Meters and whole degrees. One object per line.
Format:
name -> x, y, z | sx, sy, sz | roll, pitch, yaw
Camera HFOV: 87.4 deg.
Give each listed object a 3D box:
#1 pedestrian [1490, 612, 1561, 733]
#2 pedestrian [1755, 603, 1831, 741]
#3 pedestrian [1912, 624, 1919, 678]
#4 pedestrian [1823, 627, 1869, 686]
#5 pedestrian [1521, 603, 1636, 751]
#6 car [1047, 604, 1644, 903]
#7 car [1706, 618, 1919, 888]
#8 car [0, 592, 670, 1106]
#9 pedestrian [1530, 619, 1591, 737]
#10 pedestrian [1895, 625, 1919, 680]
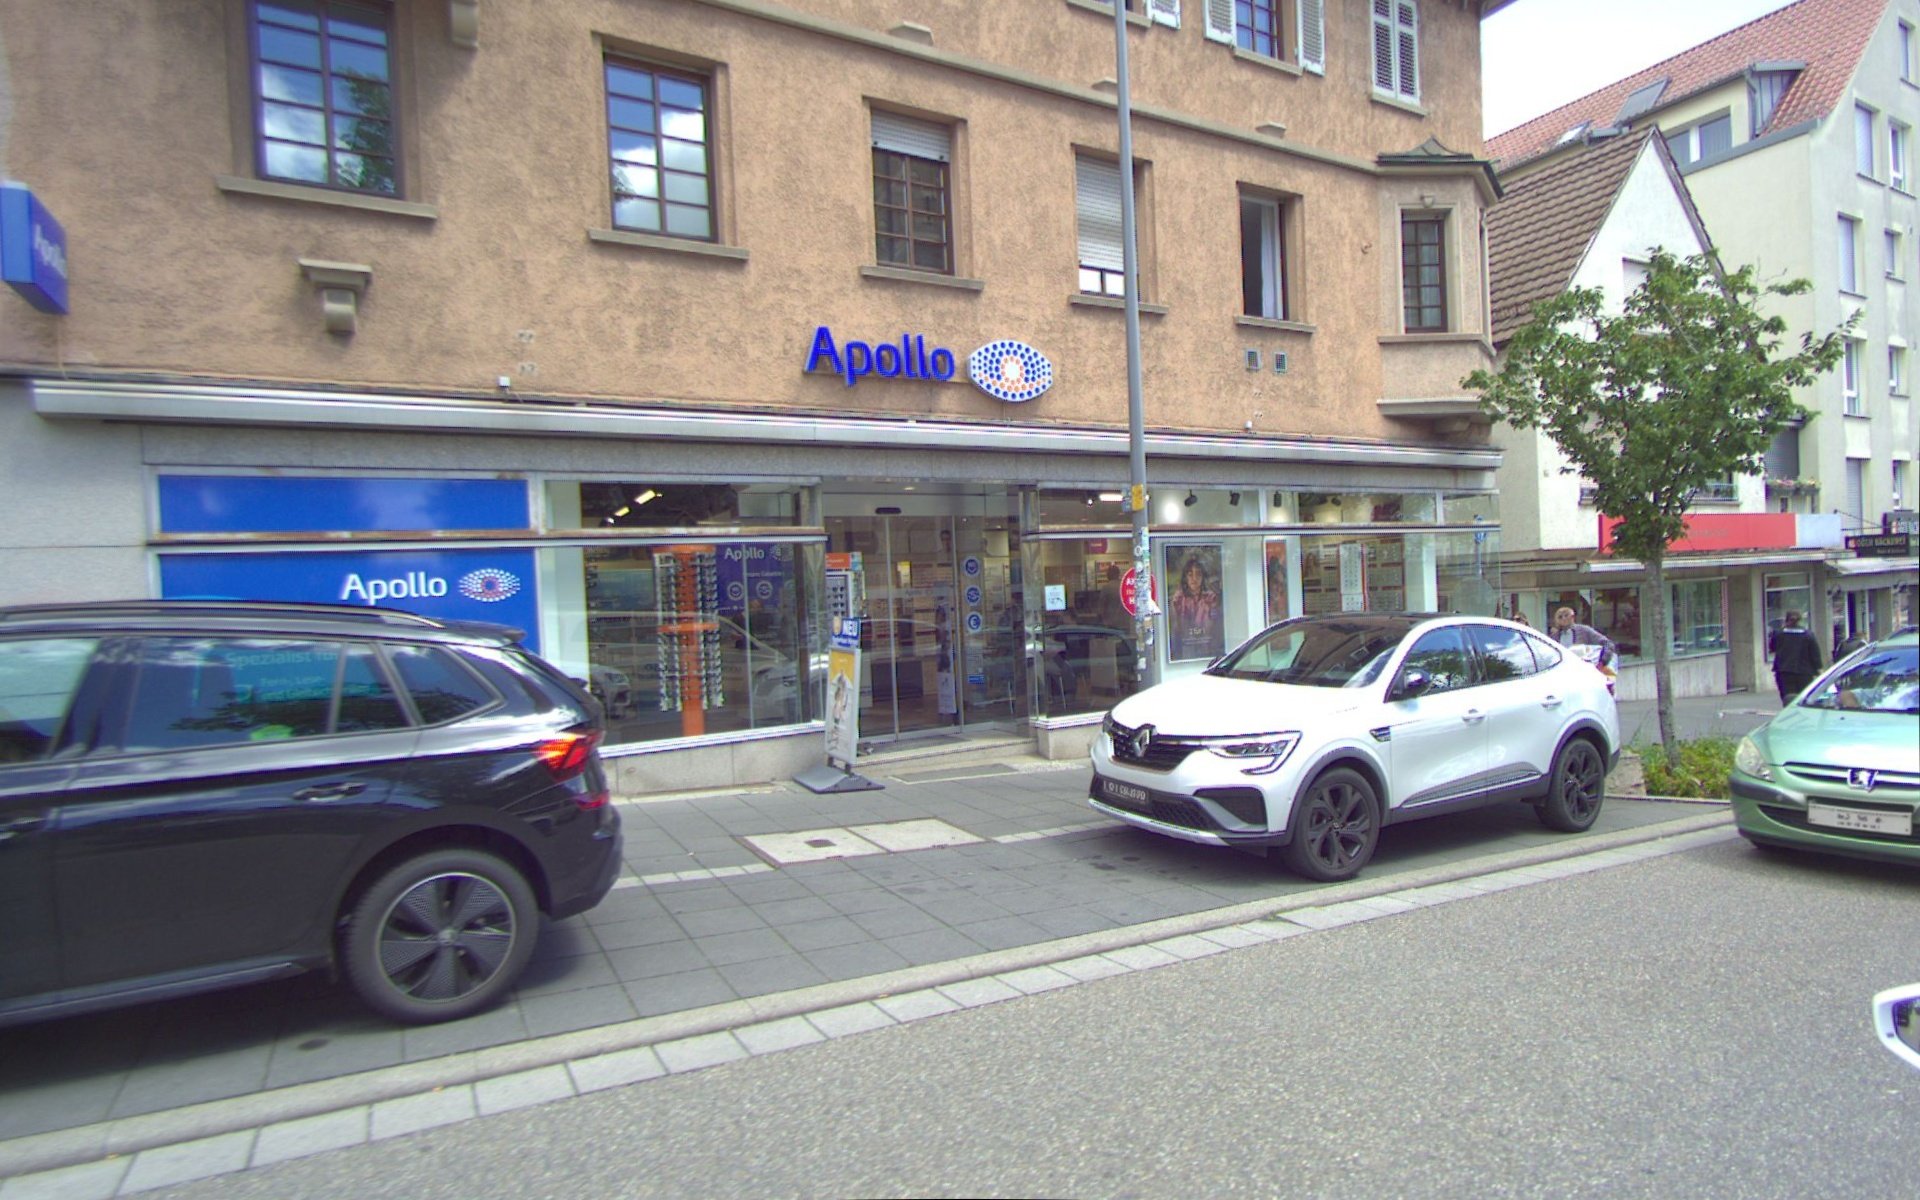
pedestrian -> 7.745, 0.966, 13.769 | 0.635, 1.603, 0.610 | 1, -1, -31
pedestrian -> 11.161, 0.934, 13.451 | 0.771, 1.784, 0.654 | 1, -1, -40
pedestrian -> 23.337, 1.230, 24.197 | 0.560, 1.266, 0.425 | -1, 1, -29
pedestrian -> 19.431, 1.225, 22.035 | 0.591, 1.263, 0.593 | 0, 0, -29
pedestrian -> 7.404, 0.888, 12.030 | 0.896, 1.688, 0.866 | 1, -1, -31
car -> 2.911, 0.864, 7.260 | 4.405, 1.594, 1.716 | 1, -1, -31
car -> 7.092, 0.904, 6.888 | 4.104, 1.520, 1.674 | 1, -2, -30
car -> -3.287, 0.758, 3.793 | 3.918, 1.546, 1.655 | 1, 0, -31
pedestrian -> 7.814, 0.997, 13.080 | 0.522, 1.497, 0.493 | 1, -1, -31
pedestrian -> 22.207, 1.220, 23.482 | 0.494, 1.266, 0.393 | -1, 1, -29
